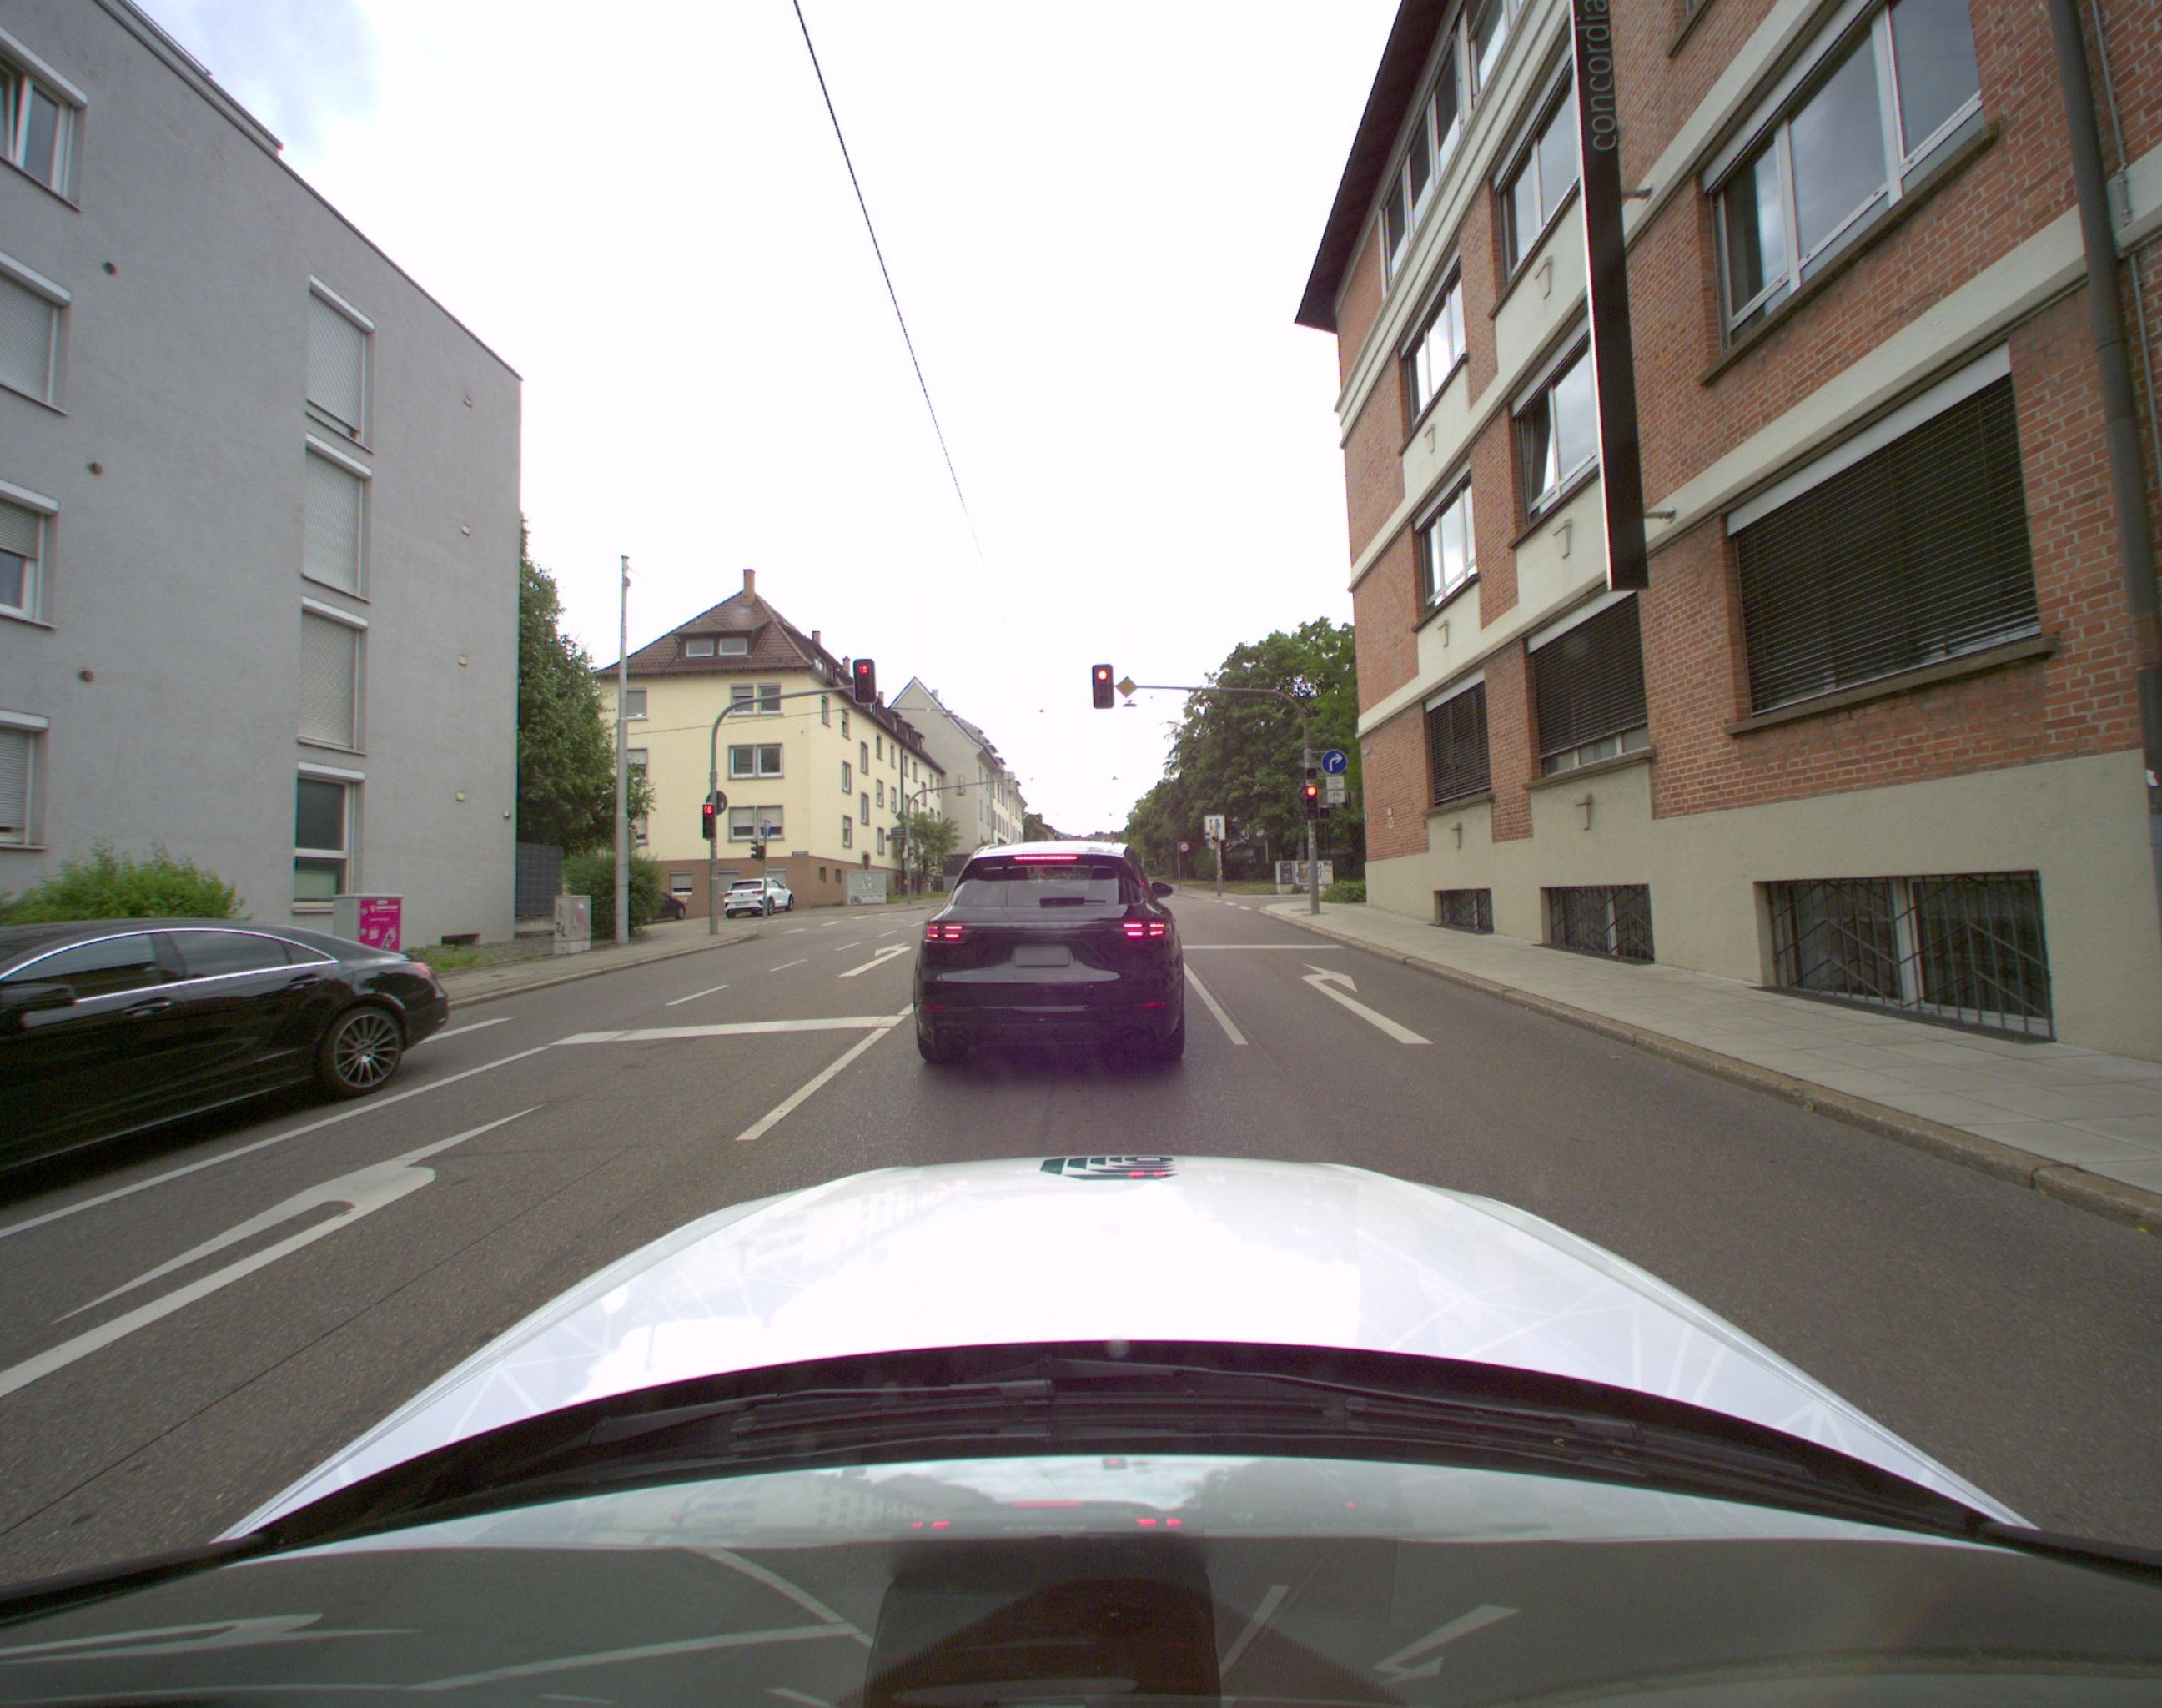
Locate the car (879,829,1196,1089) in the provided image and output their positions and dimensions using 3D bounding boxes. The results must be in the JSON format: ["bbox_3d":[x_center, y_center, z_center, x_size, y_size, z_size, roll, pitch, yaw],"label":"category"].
[{"bbox_3d":[-0.203,0.678,7.382,2.040,1.666,4.269,0,0,2],"label":"car"}]

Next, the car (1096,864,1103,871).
[{"bbox_3d":[4.635,3.288,203.065,1.820,1.605,4.137,0,0,2],"label":"car"}]

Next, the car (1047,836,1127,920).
[{"bbox_3d":[0.227,0.593,22.032,1.957,2.042,4.137,0,0,2],"label":"car"}]

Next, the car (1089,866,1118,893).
[{"bbox_3d":[1.463,1.643,52.649,1.820,1.605,3.860,0,0,2],"label":"car"}]

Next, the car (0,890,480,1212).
[{"bbox_3d":[-6.134,1.084,4.658,1.779,1.418,4.671,-4,0,1],"label":"car"}]

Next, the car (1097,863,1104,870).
[{"bbox_3d":[5.052,3.263,210.387,1.820,1.605,4.137,0,0,2],"label":"car"}]

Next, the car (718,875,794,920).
[{"bbox_3d":[-13.535,1.765,34.187,1.686,1.555,3.763,-4,0,-2],"label":"car"}]

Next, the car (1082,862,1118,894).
[{"bbox_3d":[1.050,1.264,43.941,1.820,1.605,4.137,0,0,2],"label":"car"}]

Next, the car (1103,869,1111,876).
[{"bbox_3d":[5.846,4.123,182.542,1.820,1.605,4.137,0,0,2],"label":"car"}]

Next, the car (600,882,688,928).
[{"bbox_3d":[-18.499,2.129,34.647,1.686,1.608,3.763,-4,0,-2],"label":"car"}]

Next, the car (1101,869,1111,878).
[{"bbox_3d":[5.013,3.891,163.376,1.820,1.605,4.137,0,0,2],"label":"car"}]
